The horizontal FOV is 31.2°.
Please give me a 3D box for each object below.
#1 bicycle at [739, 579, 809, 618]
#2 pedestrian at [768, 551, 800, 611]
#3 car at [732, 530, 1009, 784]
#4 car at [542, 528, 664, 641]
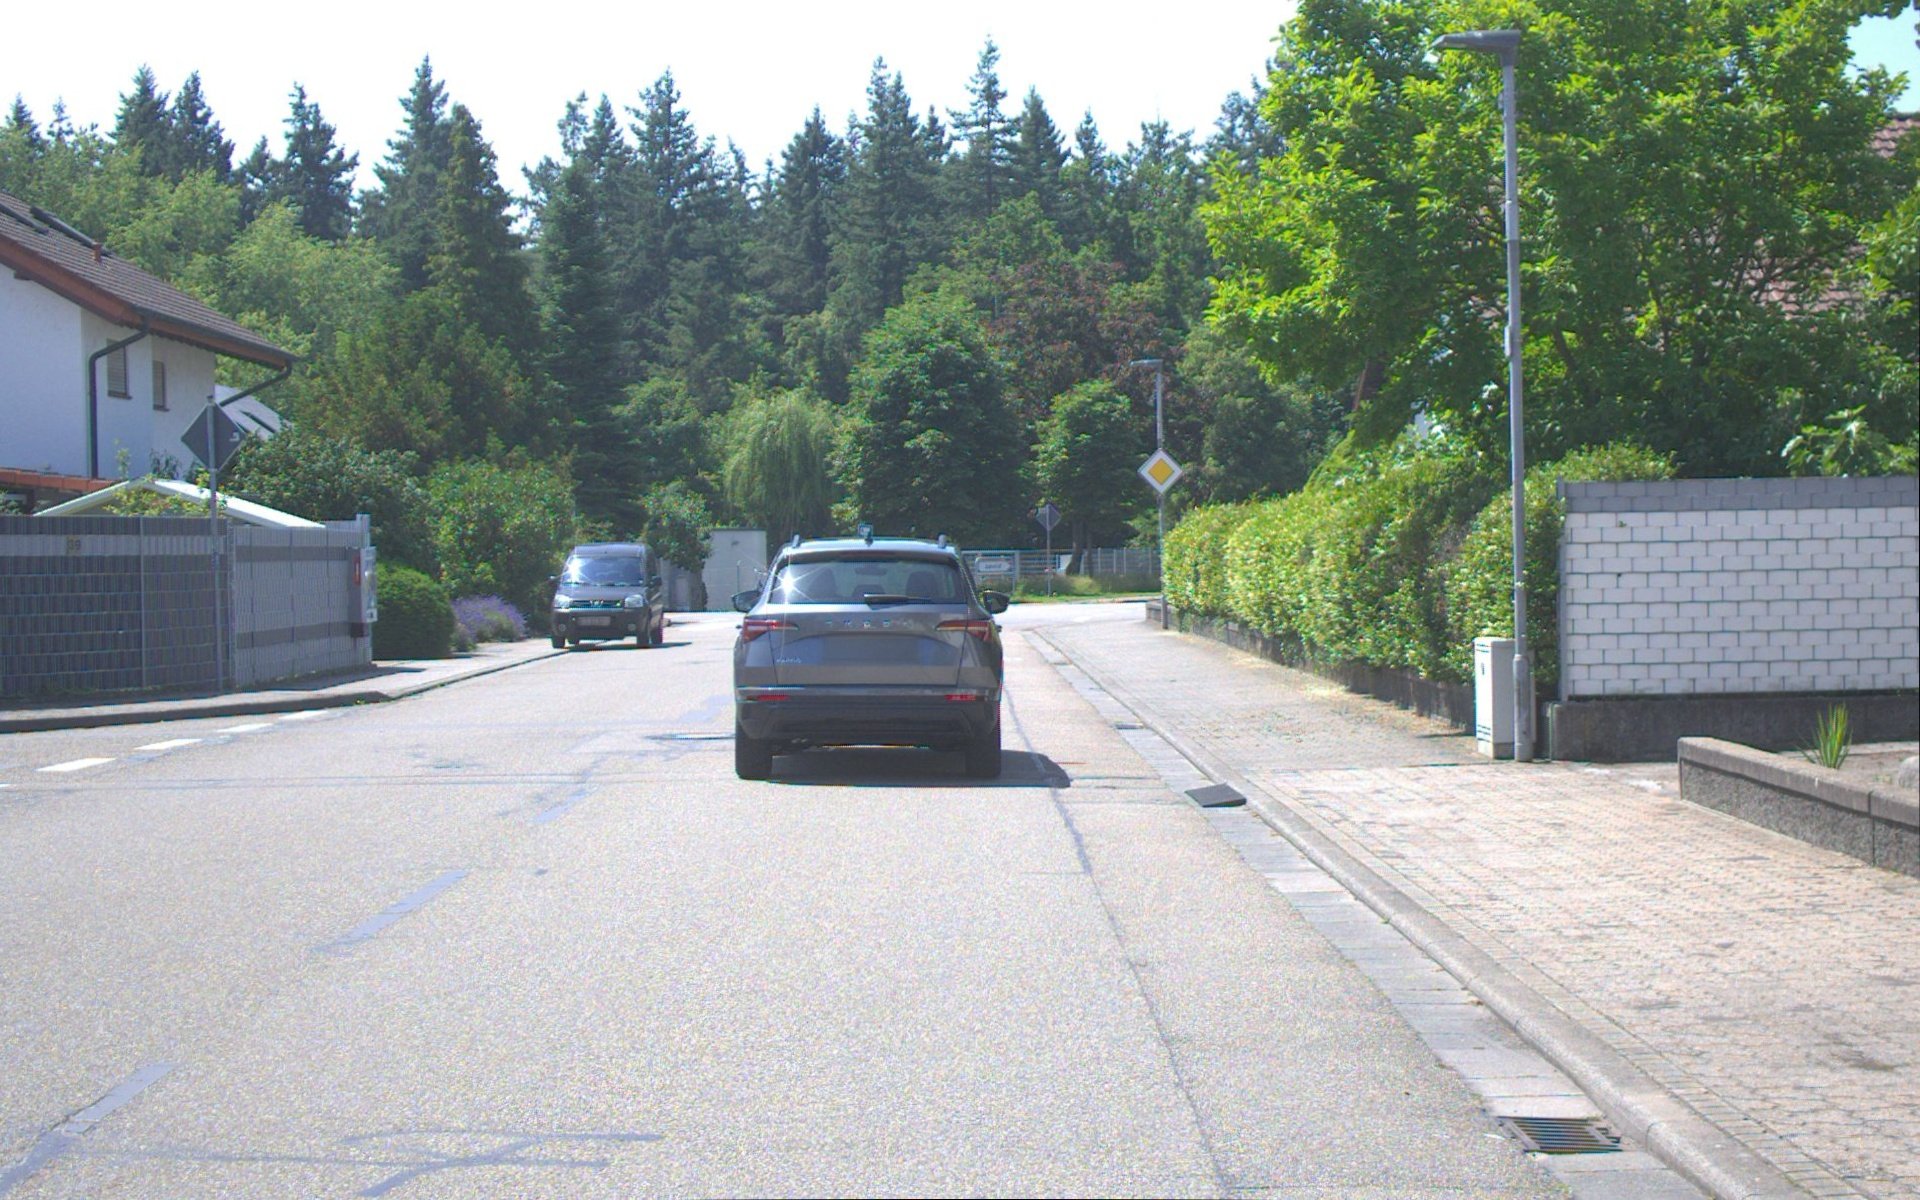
[{"bbox_3d":[-4.719,-0.044,87.340,1.843,0.960,0.443,-2,1,-39],"label":"bicycle"},{"bbox_3d":[-4.456,-0.474,86.936,0.610,1.495,0.504,-1,1,-38],"label":"pedestrian"},{"bbox_3d":[-0.610,0.340,24.007,1.762,1.612,4.000,0,1,-1],"label":"car"},{"bbox_3d":[-6.116,-0.284,59.276,1.718,1.839,4.055,-1,1,-1],"label":"car"}]
